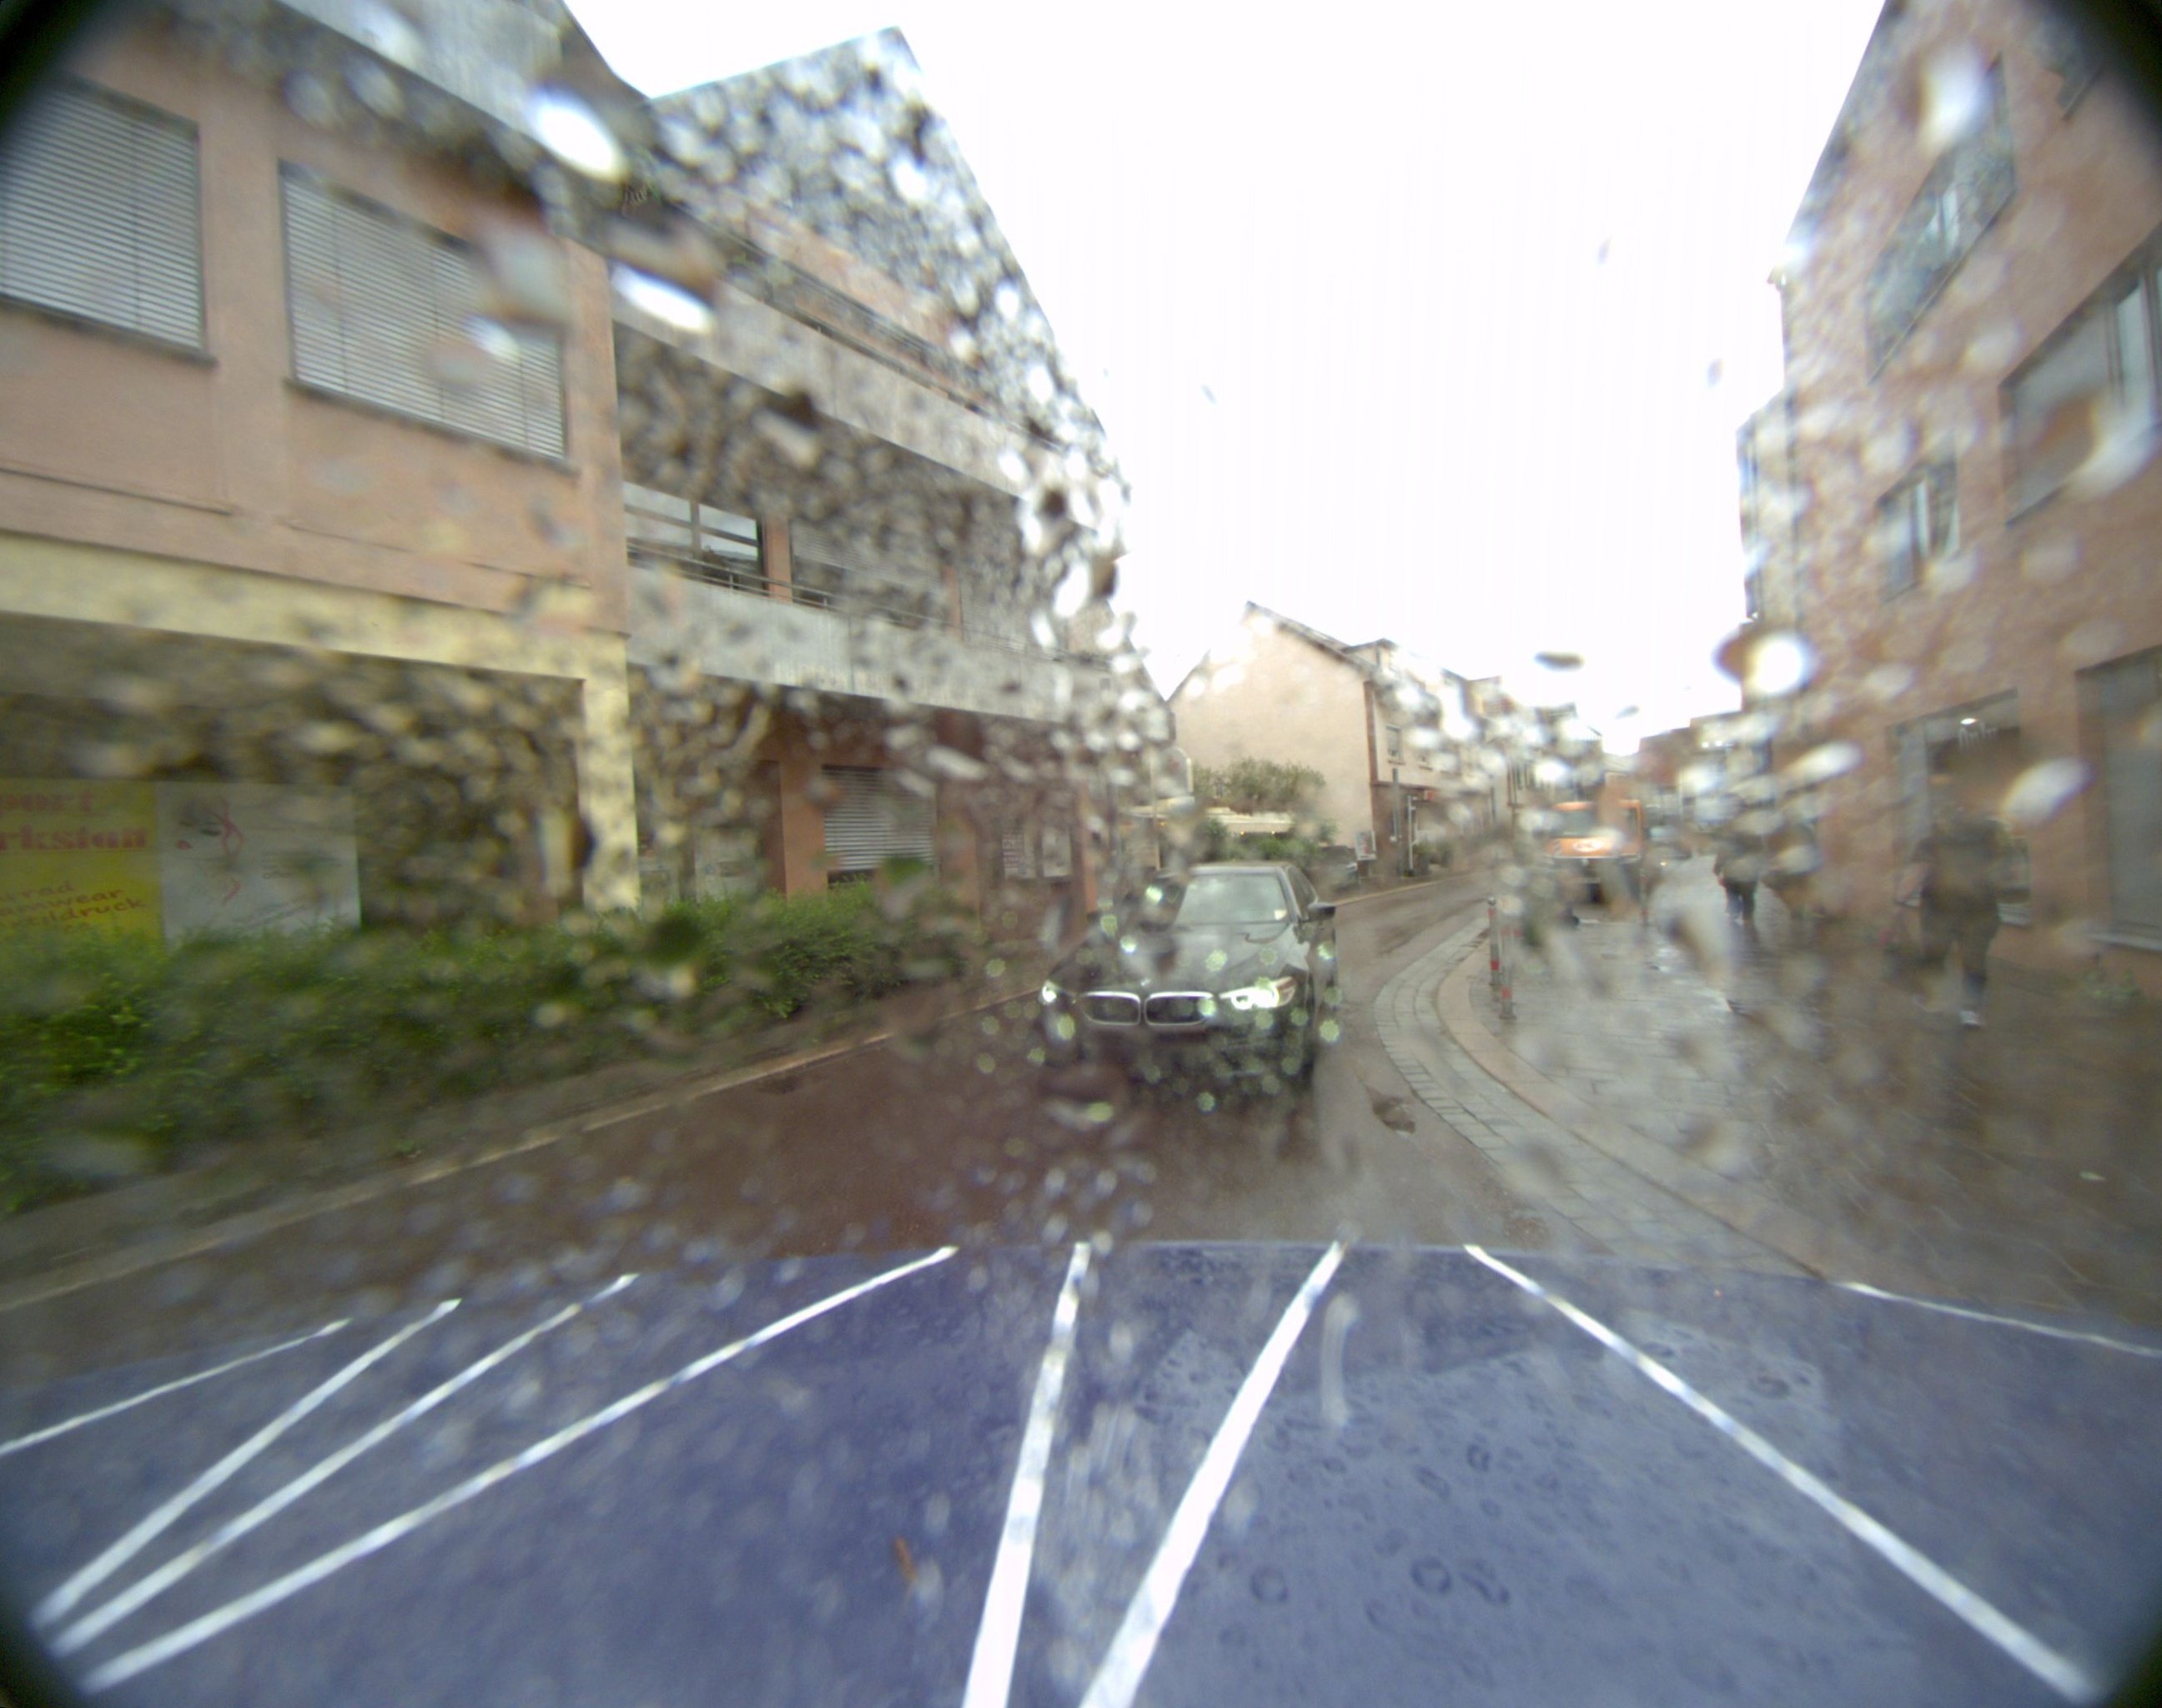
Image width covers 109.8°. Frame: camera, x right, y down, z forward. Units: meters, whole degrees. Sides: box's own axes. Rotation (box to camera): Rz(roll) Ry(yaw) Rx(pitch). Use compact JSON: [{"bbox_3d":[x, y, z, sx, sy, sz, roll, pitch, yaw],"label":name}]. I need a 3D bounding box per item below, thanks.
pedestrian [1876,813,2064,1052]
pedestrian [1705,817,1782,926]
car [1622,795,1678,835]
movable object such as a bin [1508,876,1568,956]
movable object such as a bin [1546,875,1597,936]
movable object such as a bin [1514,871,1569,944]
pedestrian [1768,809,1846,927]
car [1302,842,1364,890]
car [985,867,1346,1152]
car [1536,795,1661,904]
[{"bbox_3d":[6.431,0.533,5.542,0.660,1.600,0.685,-3,1,30],"label":"pedestrian"},{"bbox_3d":[10.362,0.272,11.915,0.715,1.630,0.747,-4,0,33],"label":"pedestrian"},{"bbox_3d":[46.281,-3.112,61.670,2.705,2.857,8.861,-3,-1,42],"label":"car"},{"bbox_3d":[6.320,0.844,10.515,0.657,1.031,0.611,-3,1,31],"label":"movable object such as a bin"},{"bbox_3d":[7.937,0.823,12.295,0.582,0.921,0.482,-3,1,41],"label":"movable object such as a bin"},{"bbox_3d":[6.970,0.805,11.514,0.657,1.031,0.611,-2,1,31],"label":"movable object such as a bin"},{"bbox_3d":[10.985,0.202,11.520,0.623,1.702,0.810,-4,0,33],"label":"pedestrian"},{"bbox_3d":[8.283,0.349,25.095,1.735,1.349,3.941,-3,1,18],"label":"car"},{"bbox_3d":[1.141,0.952,6.634,1.944,1.394,4.426,-3,1,22],"label":"car"},{"bbox_3d":[12.676,-0.170,18.394,1.995,2.227,5.872,-2,1,39],"label":"car"}]
